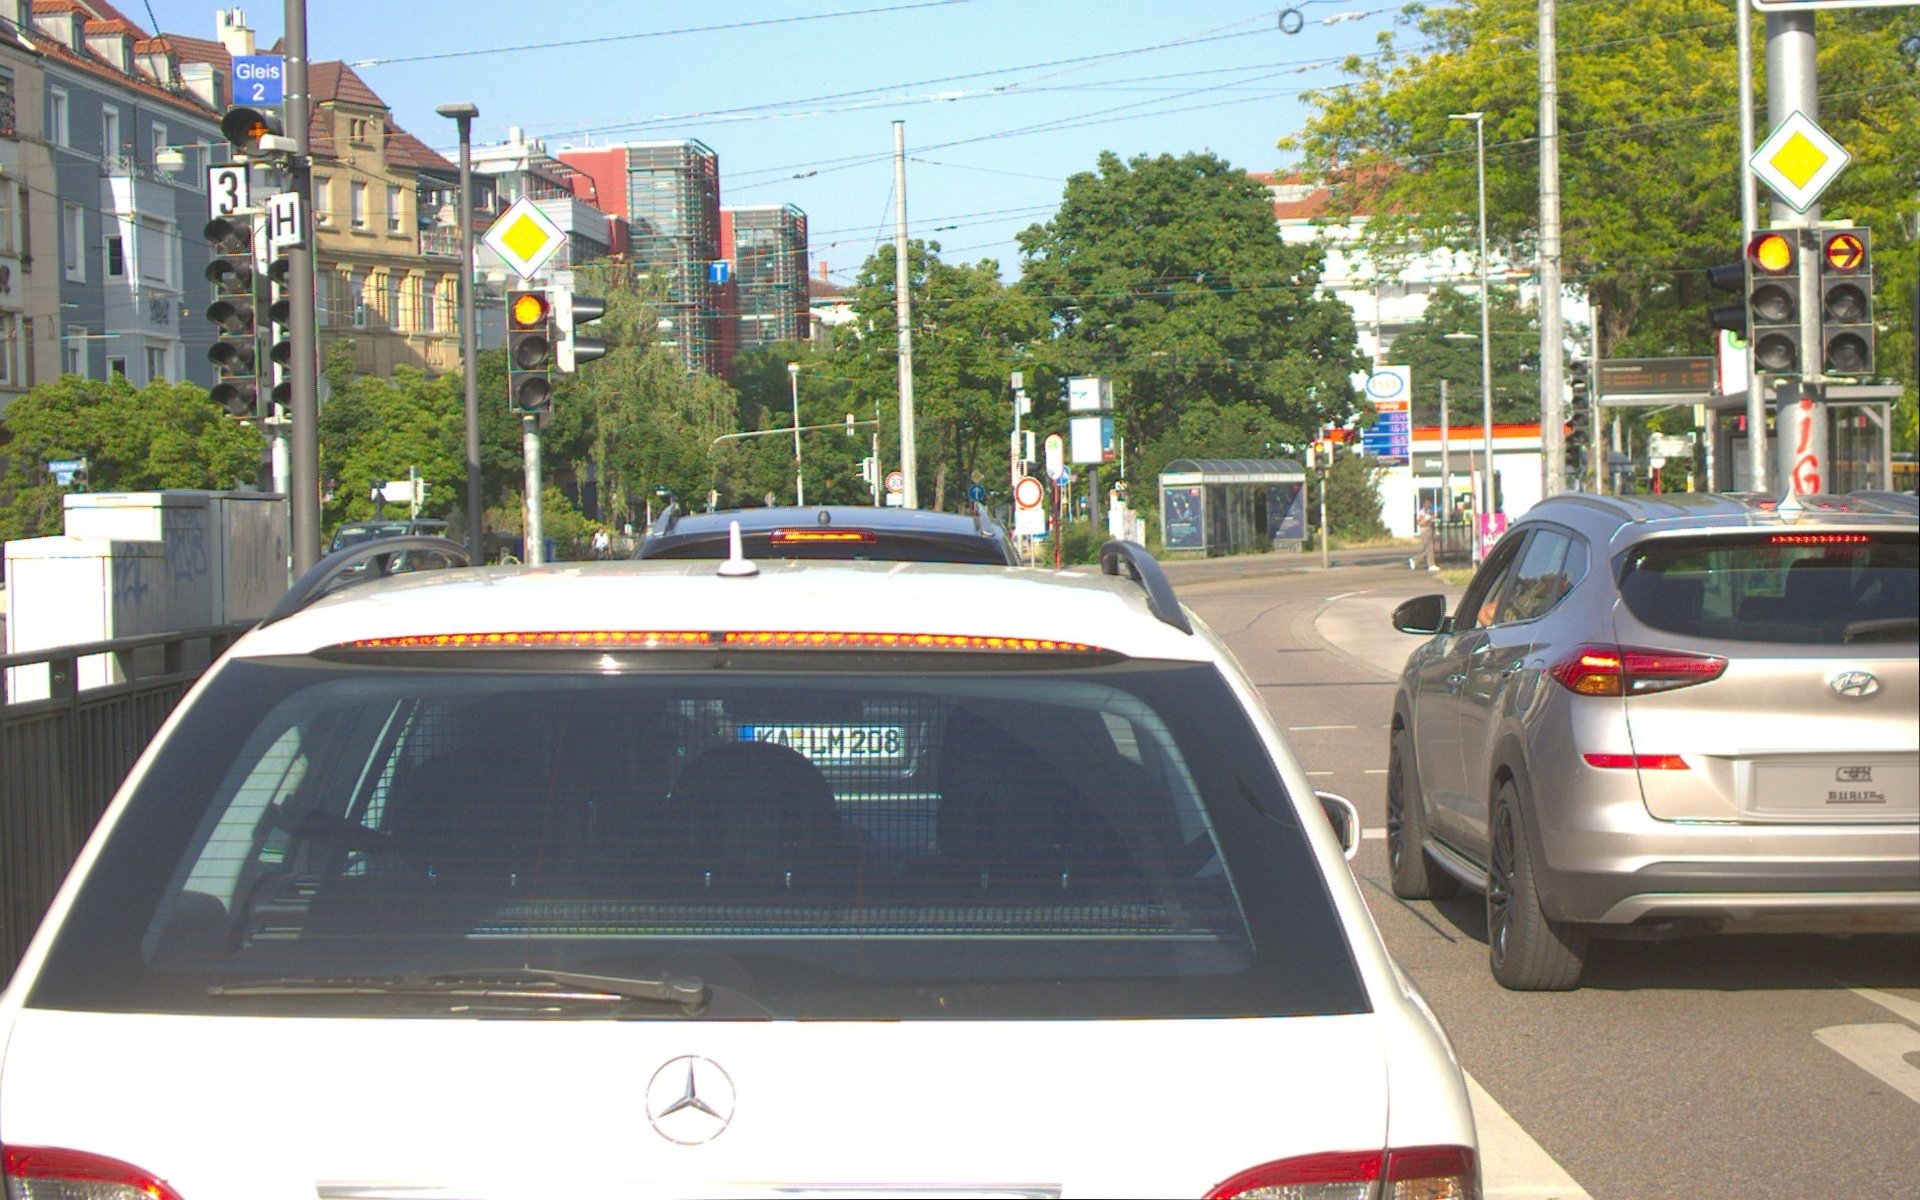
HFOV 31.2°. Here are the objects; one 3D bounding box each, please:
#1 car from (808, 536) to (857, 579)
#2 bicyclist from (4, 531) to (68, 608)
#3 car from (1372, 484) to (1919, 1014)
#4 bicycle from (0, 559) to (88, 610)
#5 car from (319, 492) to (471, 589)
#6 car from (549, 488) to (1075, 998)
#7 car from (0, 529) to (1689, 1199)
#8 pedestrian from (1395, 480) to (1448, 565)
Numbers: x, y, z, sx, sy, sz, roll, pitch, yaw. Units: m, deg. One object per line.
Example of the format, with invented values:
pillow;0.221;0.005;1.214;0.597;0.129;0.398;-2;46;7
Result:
car;-4.921;-1.661;133.424;1.676;1.520;4.125;-2;2;0
bicyclist;-19.289;-0.641;71.767;0.661;1.564;1.041;-1;1;38
car;2.639;0.408;12.256;1.835;1.594;3.815;0;1;-1
bicycle;-19.265;-0.321;71.803;0.742;1.003;1.993;-1;2;38
car;-12.458;-1.337;76.184;2.145;2.007;5.387;-2;1;3
car;-0.486;0.406;12.656;1.641;1.594;3.815;0;1;-1
car;-0.273;0.648;5.058;1.835;1.496;3.815;0;1;-1
pedestrian;11.107;-1.877;82.785;0.997;2.007;0.827;-1;1;27
